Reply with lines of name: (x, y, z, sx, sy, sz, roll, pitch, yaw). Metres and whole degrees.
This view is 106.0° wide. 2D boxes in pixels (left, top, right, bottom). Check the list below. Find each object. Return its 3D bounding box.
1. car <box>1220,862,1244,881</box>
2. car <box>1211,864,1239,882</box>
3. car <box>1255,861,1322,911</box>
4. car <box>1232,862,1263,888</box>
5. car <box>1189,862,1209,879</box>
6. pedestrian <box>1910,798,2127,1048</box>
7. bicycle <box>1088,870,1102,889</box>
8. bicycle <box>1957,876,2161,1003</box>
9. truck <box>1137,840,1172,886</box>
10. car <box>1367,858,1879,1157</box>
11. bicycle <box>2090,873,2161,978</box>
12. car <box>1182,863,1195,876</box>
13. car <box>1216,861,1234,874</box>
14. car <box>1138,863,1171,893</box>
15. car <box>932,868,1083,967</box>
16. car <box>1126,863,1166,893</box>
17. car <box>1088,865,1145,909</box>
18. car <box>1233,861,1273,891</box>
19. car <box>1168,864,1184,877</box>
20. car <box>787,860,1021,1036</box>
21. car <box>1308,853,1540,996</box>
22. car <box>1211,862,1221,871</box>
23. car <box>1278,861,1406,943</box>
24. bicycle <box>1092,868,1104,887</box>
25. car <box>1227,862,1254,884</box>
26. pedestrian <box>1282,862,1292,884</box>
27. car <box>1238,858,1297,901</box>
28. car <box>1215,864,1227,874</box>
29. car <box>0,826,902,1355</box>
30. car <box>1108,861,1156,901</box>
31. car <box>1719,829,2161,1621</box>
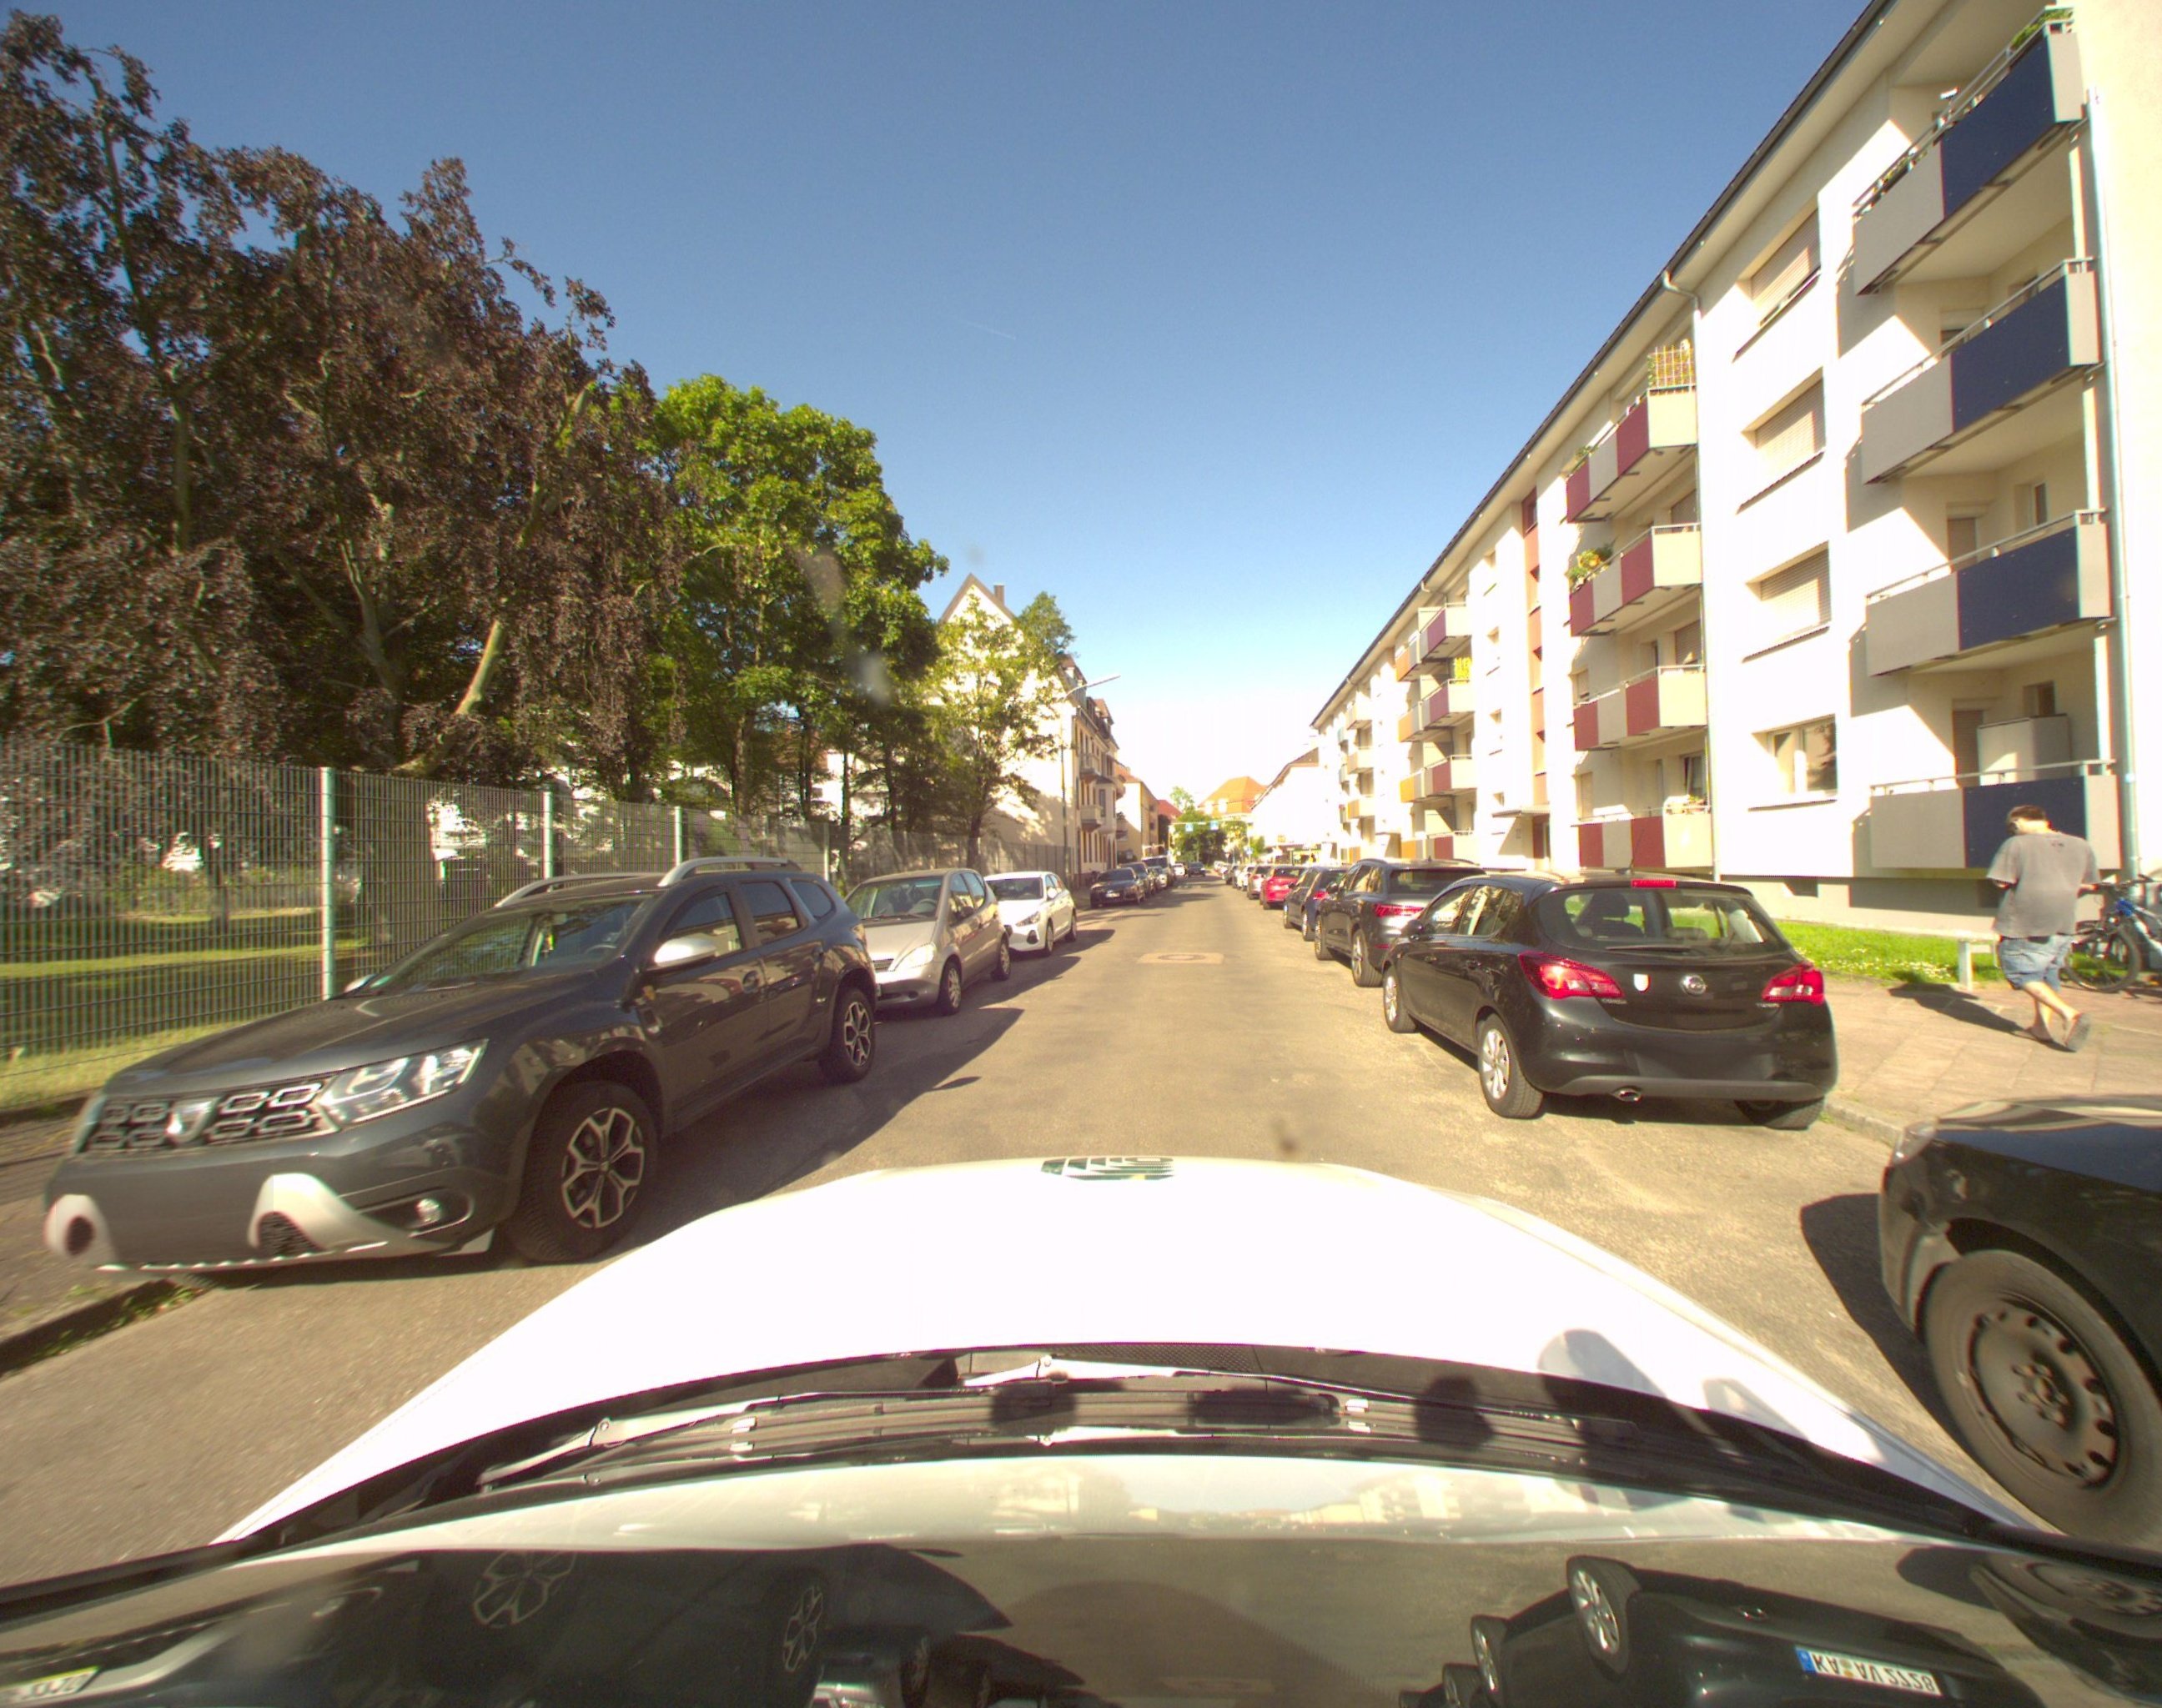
car: (12.004, 1.378, 64.906, 1.636, 1.460, 3.947, -1, -1, 7)
car: (12.410, 1.634, 70.595, 1.845, 1.523, 4.781, -1, -1, 4)
car: (6.626, 0.981, 26.373, 1.741, 1.444, 4.535, -2, -1, 10)
car: (10.094, 1.241, 49.453, 1.678, 1.467, 3.592, 1, 0, 9)
car: (12.431, 1.722, 85.615, 1.810, 1.634, 4.269, -2, -1, 10)
pedestrian: (7.101, 0.500, 6.224, 0.641, 1.771, 0.842, -1, -1, 7)
bicycle: (0.947, 1.685, 54.909, 0.625, 1.204, 2.346, -2, 0, 8)
bicycle: (9.280, 0.729, 7.307, 0.482, 1.012, 2.287, -3, -1, 5)
truck: (5.228, 0.686, 57.521, 2.248, 2.986, 7.287, -2, -1, 6)
car: (3.388, 0.810, 6.031, 1.596, 1.484, 3.805, -1, -1, 7)
bicycle: (10.377, 0.674, 7.083, 0.482, 0.960, 2.287, -3, -1, 5)
car: (14.956, 2.128, 113.559, 1.687, 1.779, 4.108, -2, -1, 9)
car: (17.204, 1.627, 97.224, 1.836, 1.441, 3.424, -2, -1, 6)
car: (4.620, 1.457, 50.504, 1.783, 1.541, 4.649, -7, -1, 6)
car: (-1.179, 1.051, 14.990, 1.784, 1.445, 4.129, -4, -1, 8)
car: (3.590, 1.272, 44.160, 1.781, 1.563, 4.470, -1, -1, 9)
car: (1.447, 1.228, 31.668, 1.784, 1.471, 4.510, -4, -1, 7)
car: (9.441, 1.210, 45.023, 1.677, 1.463, 3.825, 4, -1, 6)
car: (12.027, 2.056, 102.721, 1.781, 1.480, 4.109, -3, 0, 9)
car: (-1.917, 0.977, 9.958, 1.555, 1.643, 3.622, -5, -2, 7)
car: (4.353, 0.813, 11.093, 1.743, 1.559, 4.262, -1, -1, 6)
car: (23.137, 2.106, 139.605, 1.628, 1.441, 3.426, -2, -1, 8)
car: (5.266, 0.909, 16.958, 1.743, 1.481, 4.087, -1, -1, 6)
bicycle: (1.226, 1.675, 57.831, 0.566, 1.279, 2.346, -2, 0, 9)
car: (11.553, 1.346, 59.155, 1.781, 1.471, 4.350, -2, -1, 9)
pedestrian: (14.114, 1.296, 55.789, 0.571, 1.433, 0.473, -3, -1, 10)
car: (7.604, 1.015, 33.579, 1.888, 1.622, 4.611, 0, -1, 7)
car: (22.098, 2.357, 128.710, 1.628, 1.441, 3.426, -2, -1, 8)
car: (-2.650, 0.838, 4.781, 1.703, 1.664, 4.173, -5, -1, 7)
car: (2.477, 1.219, 38.243, 1.869, 1.664, 4.941, -4, -1, 7)
car: (2.793, 0.687, 0.693, 1.609, 1.548, 4.093, -2, -1, 7)
